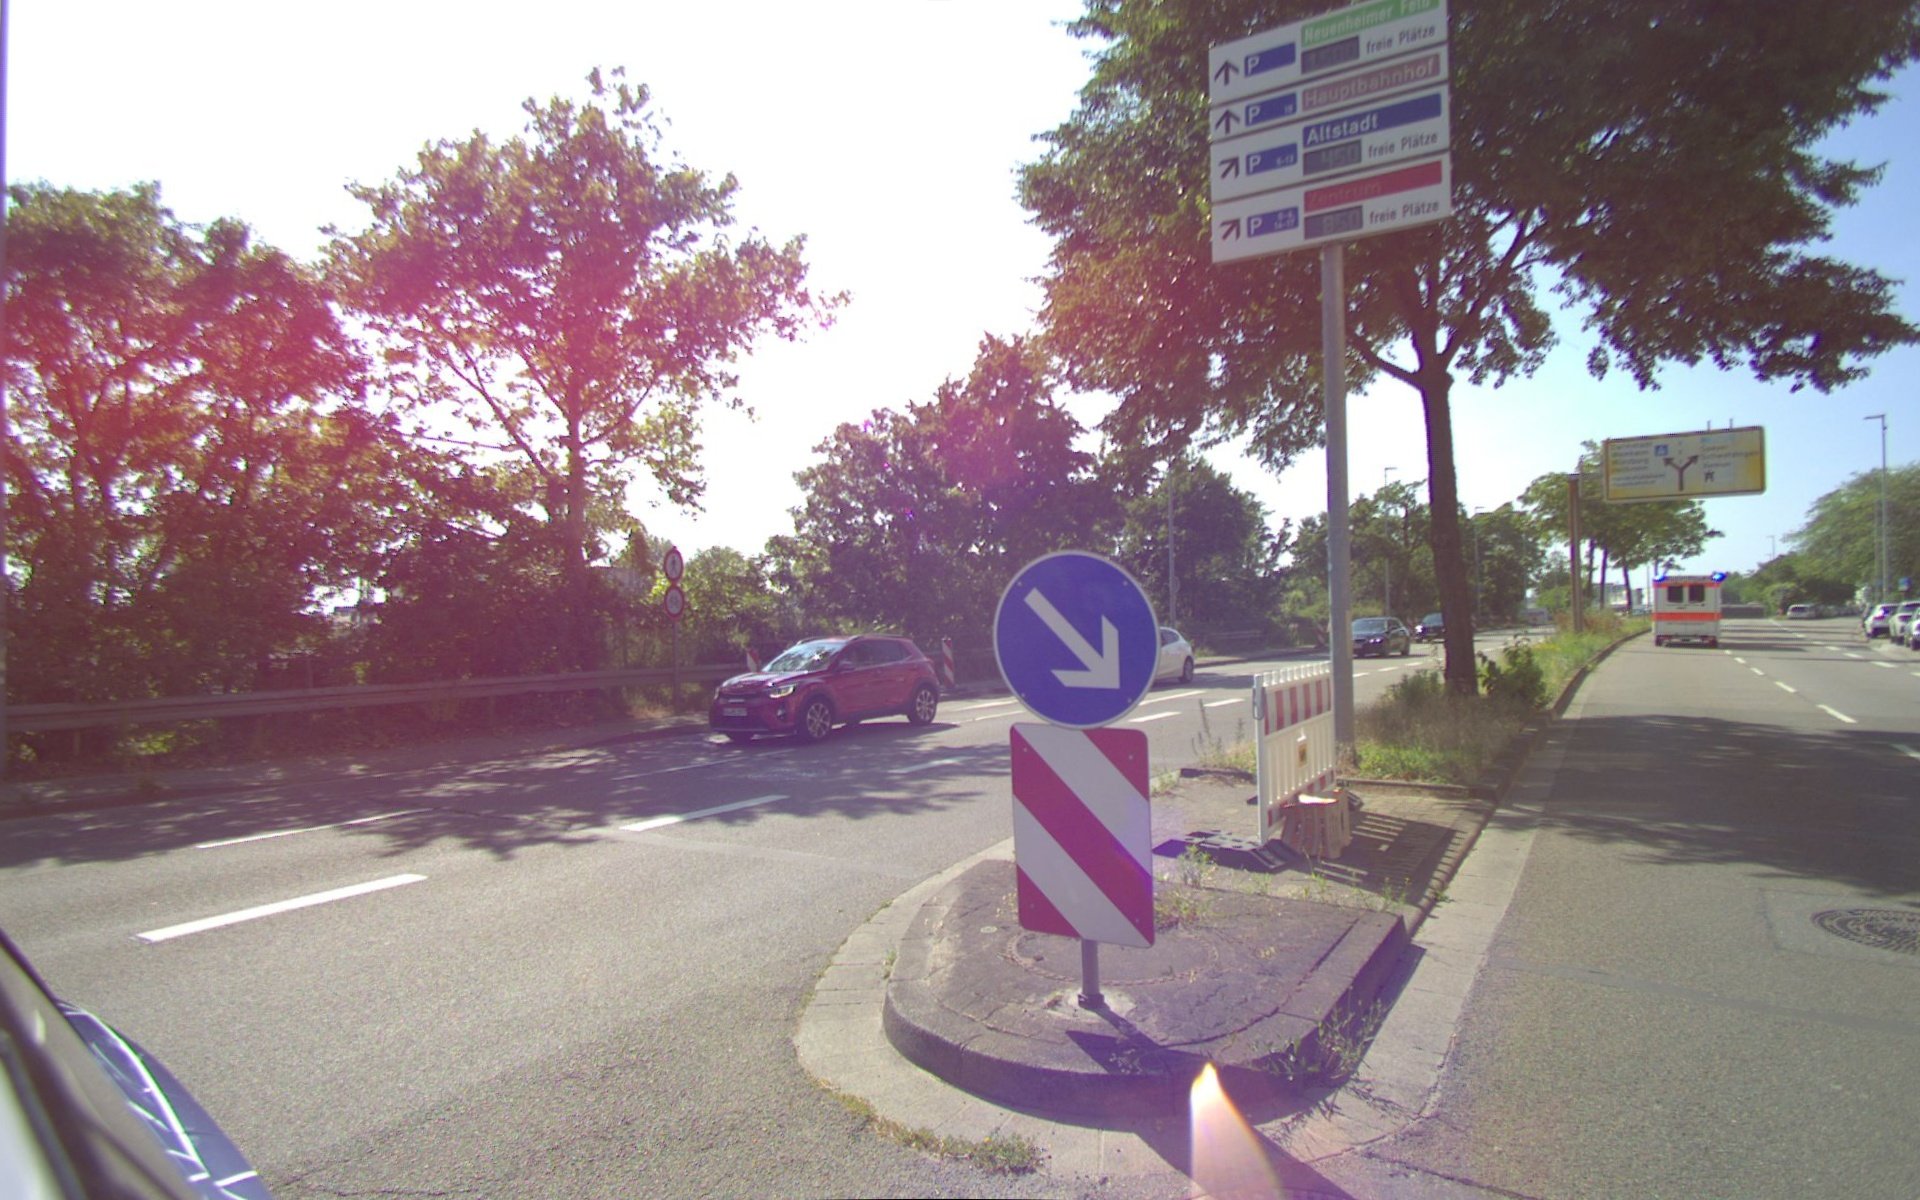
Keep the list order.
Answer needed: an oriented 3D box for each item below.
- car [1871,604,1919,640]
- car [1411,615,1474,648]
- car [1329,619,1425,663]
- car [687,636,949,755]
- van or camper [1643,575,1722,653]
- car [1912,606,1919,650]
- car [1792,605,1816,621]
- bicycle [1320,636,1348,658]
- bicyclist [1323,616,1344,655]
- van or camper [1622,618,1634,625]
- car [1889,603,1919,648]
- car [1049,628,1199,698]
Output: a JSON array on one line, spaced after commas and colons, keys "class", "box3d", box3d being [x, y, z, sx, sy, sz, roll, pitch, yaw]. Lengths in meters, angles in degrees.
[{"class": "car", "box3d": [40.881, 0.936, 43.931, 1.760, 1.517, 4.073, -1, -1, 39]}, {"class": "car", "box3d": [25.000, 1.609, 52.390, 1.997, 1.540, 4.639, -4, -3, 37]}, {"class": "car", "box3d": [15.087, 1.450, 36.475, 1.997, 1.422, 4.556, -4, -3, 38]}, {"class": "car", "box3d": [-2.072, 1.385, 15.701, 1.799, 1.531, 3.916, -4, -3, 36]}, {"class": "van or camper", "box3d": [28.250, 0.580, 39.682, 2.298, 2.810, 5.505, -2, -2, 35]}, {"class": "car", "box3d": [31.875, 0.853, 32.454, 1.682, 1.419, 3.384, -5, -3, 40]}, {"class": "car", "box3d": [83.597, 1.262, 100.249, 1.625, 1.517, 3.411, -1, -1, 44]}, {"class": "bicycle", "box3d": [15.150, 1.886, 40.982, 0.495, 0.839, 1.783, -3, -2, 38]}, {"class": "bicyclist", "box3d": [15.111, 1.434, 40.944, 0.574, 1.545, 0.769, -3, -2, 38]}, {"class": "van or camper", "box3d": [121.644, 3.922, 184.257, 1.469, 1.360, 4.572, -2, -2, 37]}, {"class": "car", "box3d": [34.744, 0.881, 36.311, 1.740, 1.553, 4.296, -3, -2, 39]}, {"class": "car", "box3d": [3.987, 1.467, 24.122, 1.866, 1.464, 4.154, -4, -3, 35]}]
